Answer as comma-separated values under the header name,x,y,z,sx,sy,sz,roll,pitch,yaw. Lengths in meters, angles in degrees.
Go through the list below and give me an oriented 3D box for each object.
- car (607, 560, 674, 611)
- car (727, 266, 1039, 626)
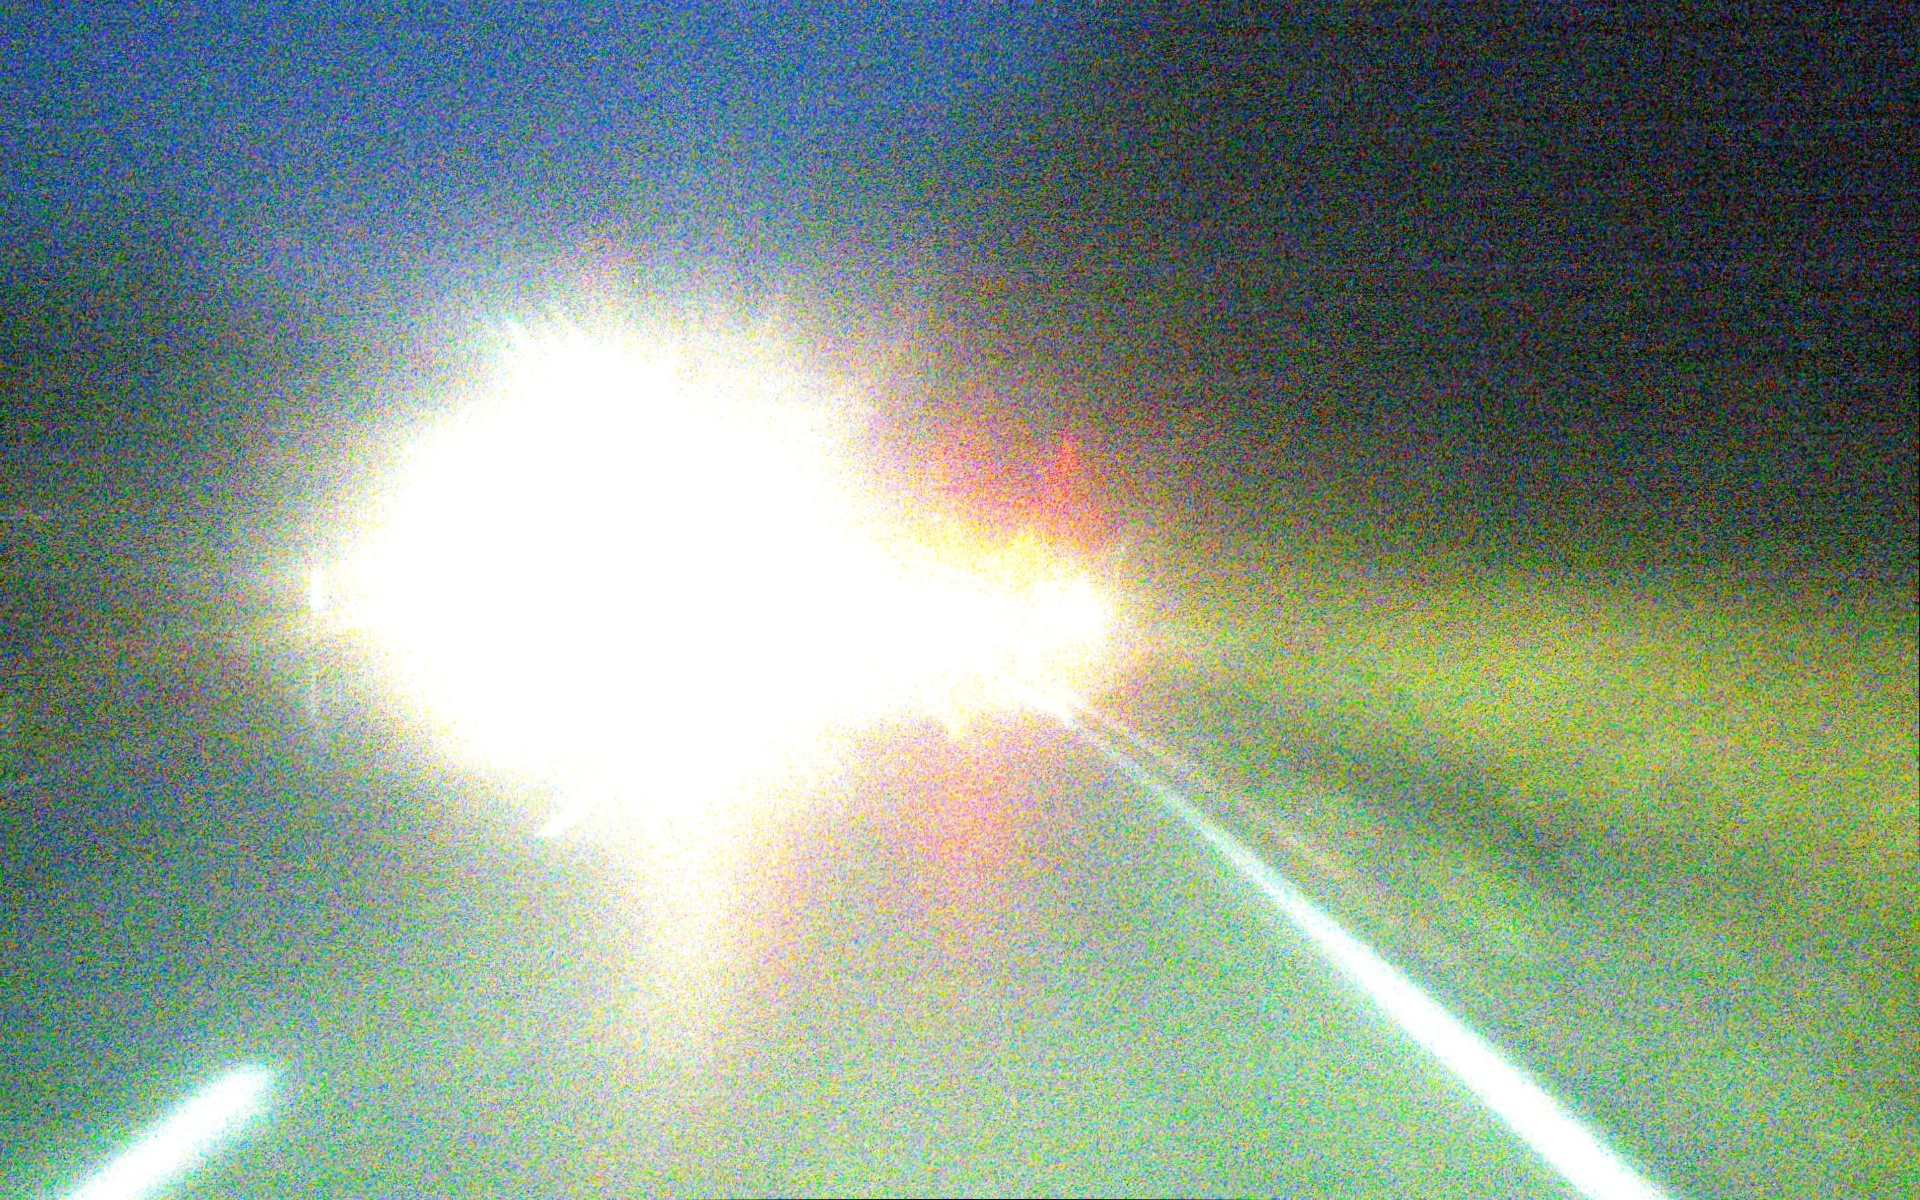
name,x,y,z,sx,sy,sz,roll,pitch,yaw
car,-9.572,-0.428,103.149,1.843,1.499,3.710,0,0,-3
car,-0.652,-1.236,27.690,2.181,2.548,4.509,3,2,-2
